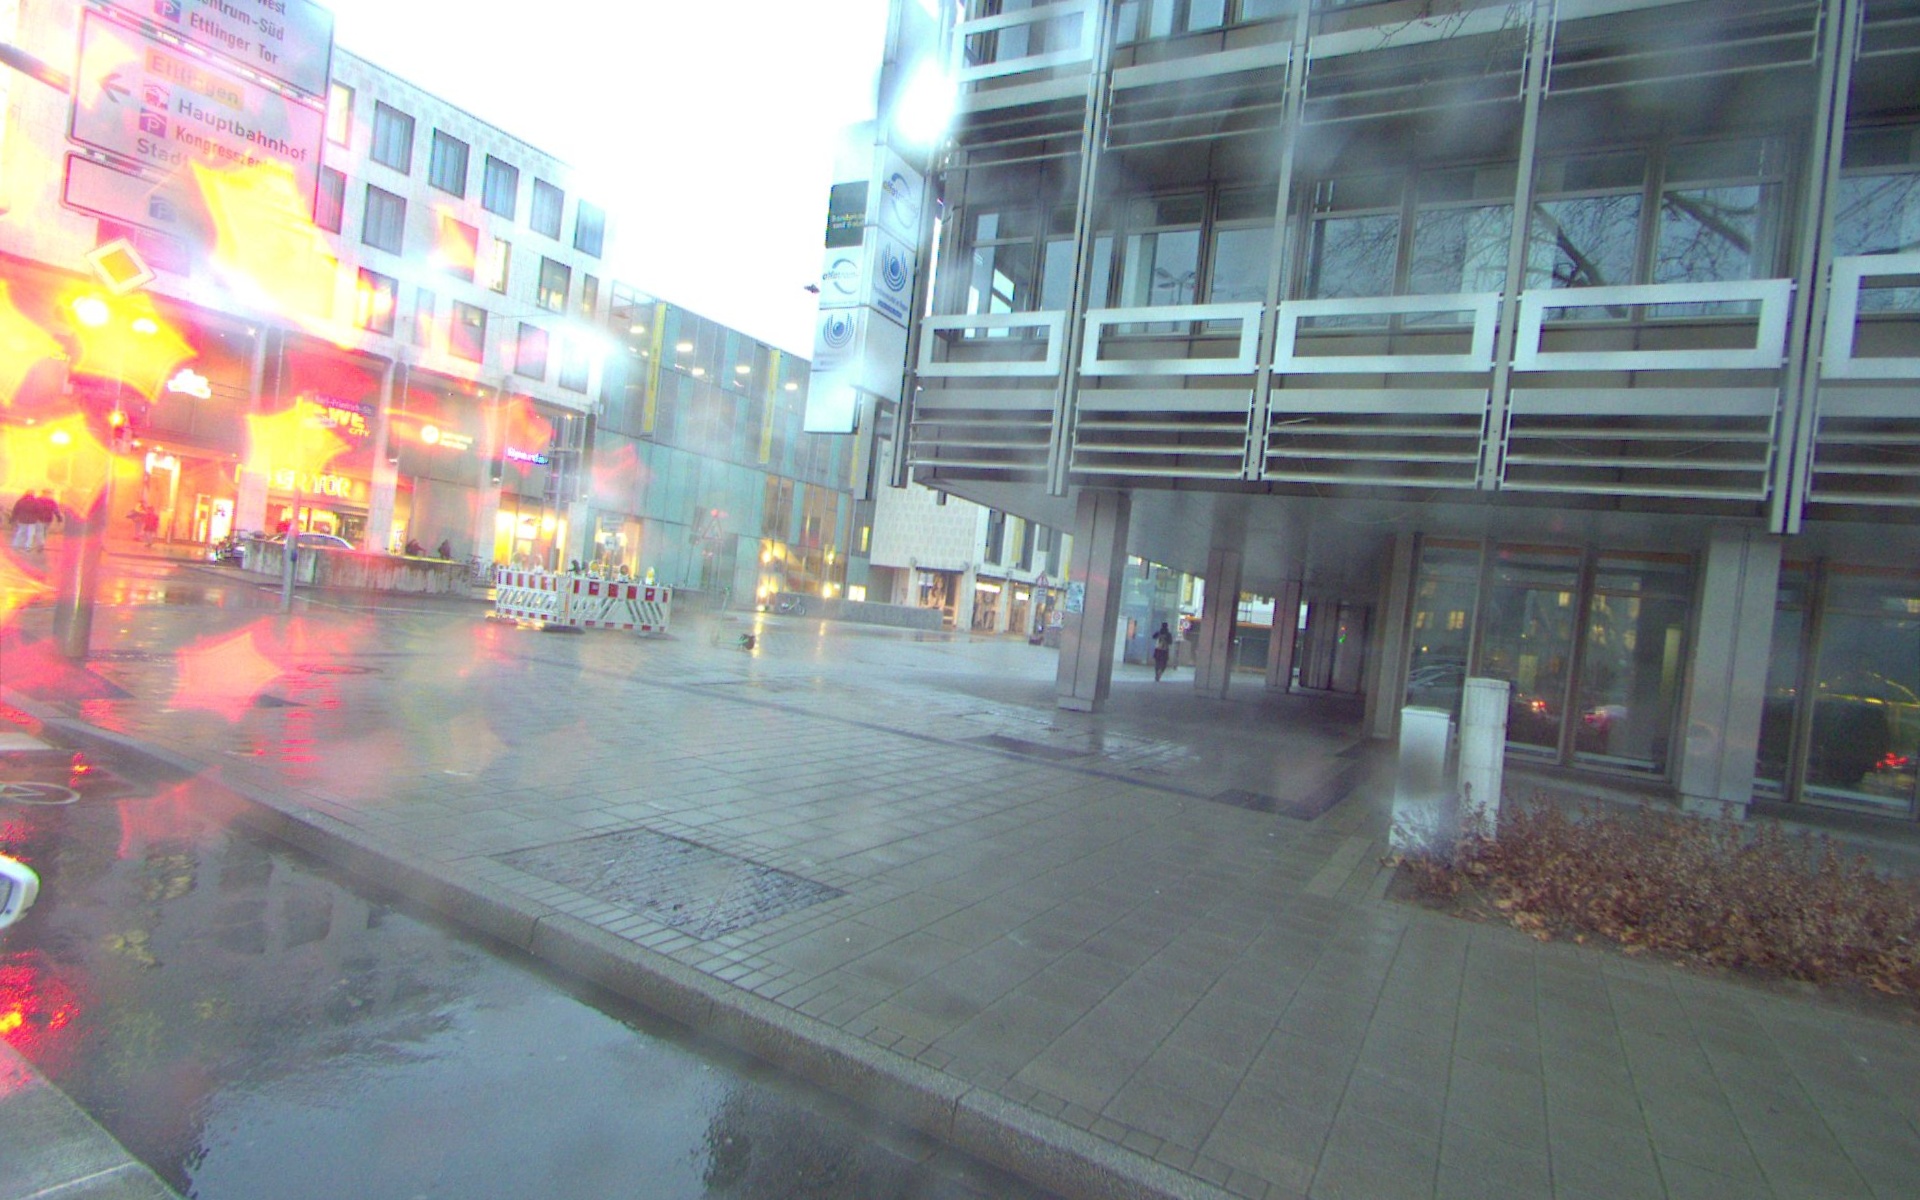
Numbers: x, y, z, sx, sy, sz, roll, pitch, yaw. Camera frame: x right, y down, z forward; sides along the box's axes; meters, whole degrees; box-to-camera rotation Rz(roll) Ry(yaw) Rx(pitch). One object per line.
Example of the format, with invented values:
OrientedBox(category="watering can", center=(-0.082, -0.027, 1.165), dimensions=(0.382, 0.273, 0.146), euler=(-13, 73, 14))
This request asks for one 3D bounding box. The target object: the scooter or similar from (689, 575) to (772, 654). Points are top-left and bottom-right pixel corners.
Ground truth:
OrientedBox(category="scooter or similar", center=(-4.614, 0.289, 20.181), dimensions=(1.470, 1.368, 0.593), euler=(7, -1, 32))

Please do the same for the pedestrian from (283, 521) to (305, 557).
OrientedBox(category="pedestrian", center=(-34.224, -3.144, 51.700), dimensions=(0.729, 1.740, 0.733), euler=(6, 1, -31))

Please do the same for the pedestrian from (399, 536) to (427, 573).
OrientedBox(category="pedestrian", center=(-26.509, -2.209, 48.769), dimensions=(0.519, 1.705, 0.894), euler=(6, 0, 31))

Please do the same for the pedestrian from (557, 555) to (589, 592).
OrientedBox(category="pedestrian", center=(-19.431, -1.326, 50.548), dimensions=(0.810, 1.703, 1.032), euler=(6, -1, 31))

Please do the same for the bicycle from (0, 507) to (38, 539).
OrientedBox(category="bicycle", center=(-36.488, -2.996, 38.462), dimensions=(0.515, 1.082, 1.651), euler=(7, -2, 28))

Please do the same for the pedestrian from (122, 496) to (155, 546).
OrientedBox(category="pedestrian", center=(-35.637, -3.420, 43.663), dimensions=(0.688, 2.038, 0.845), euler=(7, 1, 40))

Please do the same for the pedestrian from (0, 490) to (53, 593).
OrientedBox(category="pedestrian", center=(-23.564, -1.467, 25.298), dimensions=(0.745, 2.469, 0.716), euler=(7, -1, 31))

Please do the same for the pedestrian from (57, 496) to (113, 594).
OrientedBox(category="pedestrian", center=(-23.299, -1.471, 26.783), dimensions=(0.778, 2.477, 0.694), euler=(7, -1, 32))

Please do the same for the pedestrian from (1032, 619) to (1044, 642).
OrientedBox(category="pedestrian", center=(6.197, 2.433, 79.996), dimensions=(0.573, 1.703, 0.542), euler=(6, -1, 38))

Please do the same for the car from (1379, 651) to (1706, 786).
OrientedBox(category="car", center=(8.687, 1.682, 15.236), dimensions=(3.935, 1.327, 1.994), euler=(6, 1, 33))

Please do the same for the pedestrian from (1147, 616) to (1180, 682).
OrientedBox(category="pedestrian", center=(5.807, 1.395, 28.674), dimensions=(0.678, 1.796, 0.660), euler=(7, -1, 16))

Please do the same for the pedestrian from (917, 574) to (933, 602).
OrientedBox(category="pedestrian", center=(-2.241, -0.776, 64.077), dimensions=(0.573, 1.703, 0.542), euler=(6, -1, 38))

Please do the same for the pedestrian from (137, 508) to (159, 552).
OrientedBox(category="pedestrian", center=(-32.305, -2.773, 40.026), dimensions=(0.480, 1.683, 0.454), euler=(6, 1, -28))

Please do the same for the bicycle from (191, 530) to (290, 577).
OrientedBox(category="bicycle", center=(-26.338, -1.683, 36.877), dimensions=(0.941, 1.375, 2.718), euler=(6, -1, 28))

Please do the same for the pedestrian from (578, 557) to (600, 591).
OrientedBox(category="pedestrian", center=(-20.336, -1.439, 55.122), dimensions=(0.786, 1.760, 0.767), euler=(6, 1, -43))

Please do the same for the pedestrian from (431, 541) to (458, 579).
OrientedBox(category="pedestrian", center=(-24.871, -1.945, 48.524), dimensions=(0.770, 1.703, 0.742), euler=(6, -1, 38))

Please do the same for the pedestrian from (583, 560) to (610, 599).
OrientedBox(category="pedestrian", center=(-17.377, -0.970, 48.068), dimensions=(0.770, 1.703, 0.742), euler=(6, -1, 38))

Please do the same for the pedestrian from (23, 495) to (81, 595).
OrientedBox(category="pedestrian", center=(-23.572, -1.436, 26.123), dimensions=(0.745, 2.469, 0.691), euler=(7, -1, 31))

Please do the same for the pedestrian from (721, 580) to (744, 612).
OrientedBox(category="pedestrian", center=(-13.068, -0.203, 57.796), dimensions=(0.770, 1.703, 0.742), euler=(6, -1, 38))

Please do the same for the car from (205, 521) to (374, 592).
OrientedBox(category="car", center=(-21.686, -1.388, 32.695), dimensions=(1.968, 1.636, 3.994), euler=(6, -2, 33))

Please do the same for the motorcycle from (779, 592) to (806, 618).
OrientedBox(category="motorcycle", center=(-10.187, 0.288, 61.116), dimensions=(0.585, 1.368, 1.491), euler=(7, -1, 36))

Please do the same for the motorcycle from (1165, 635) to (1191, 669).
OrientedBox(category="motorcycle", center=(9.907, 2.361, 45.618), dimensions=(0.584, 1.368, 1.493), euler=(7, -1, 29))

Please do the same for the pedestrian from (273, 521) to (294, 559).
OrientedBox(category="pedestrian", center=(-32.417, -2.873, 48.209), dimensions=(0.360, 1.706, 0.616), euler=(7, 1, 28))
